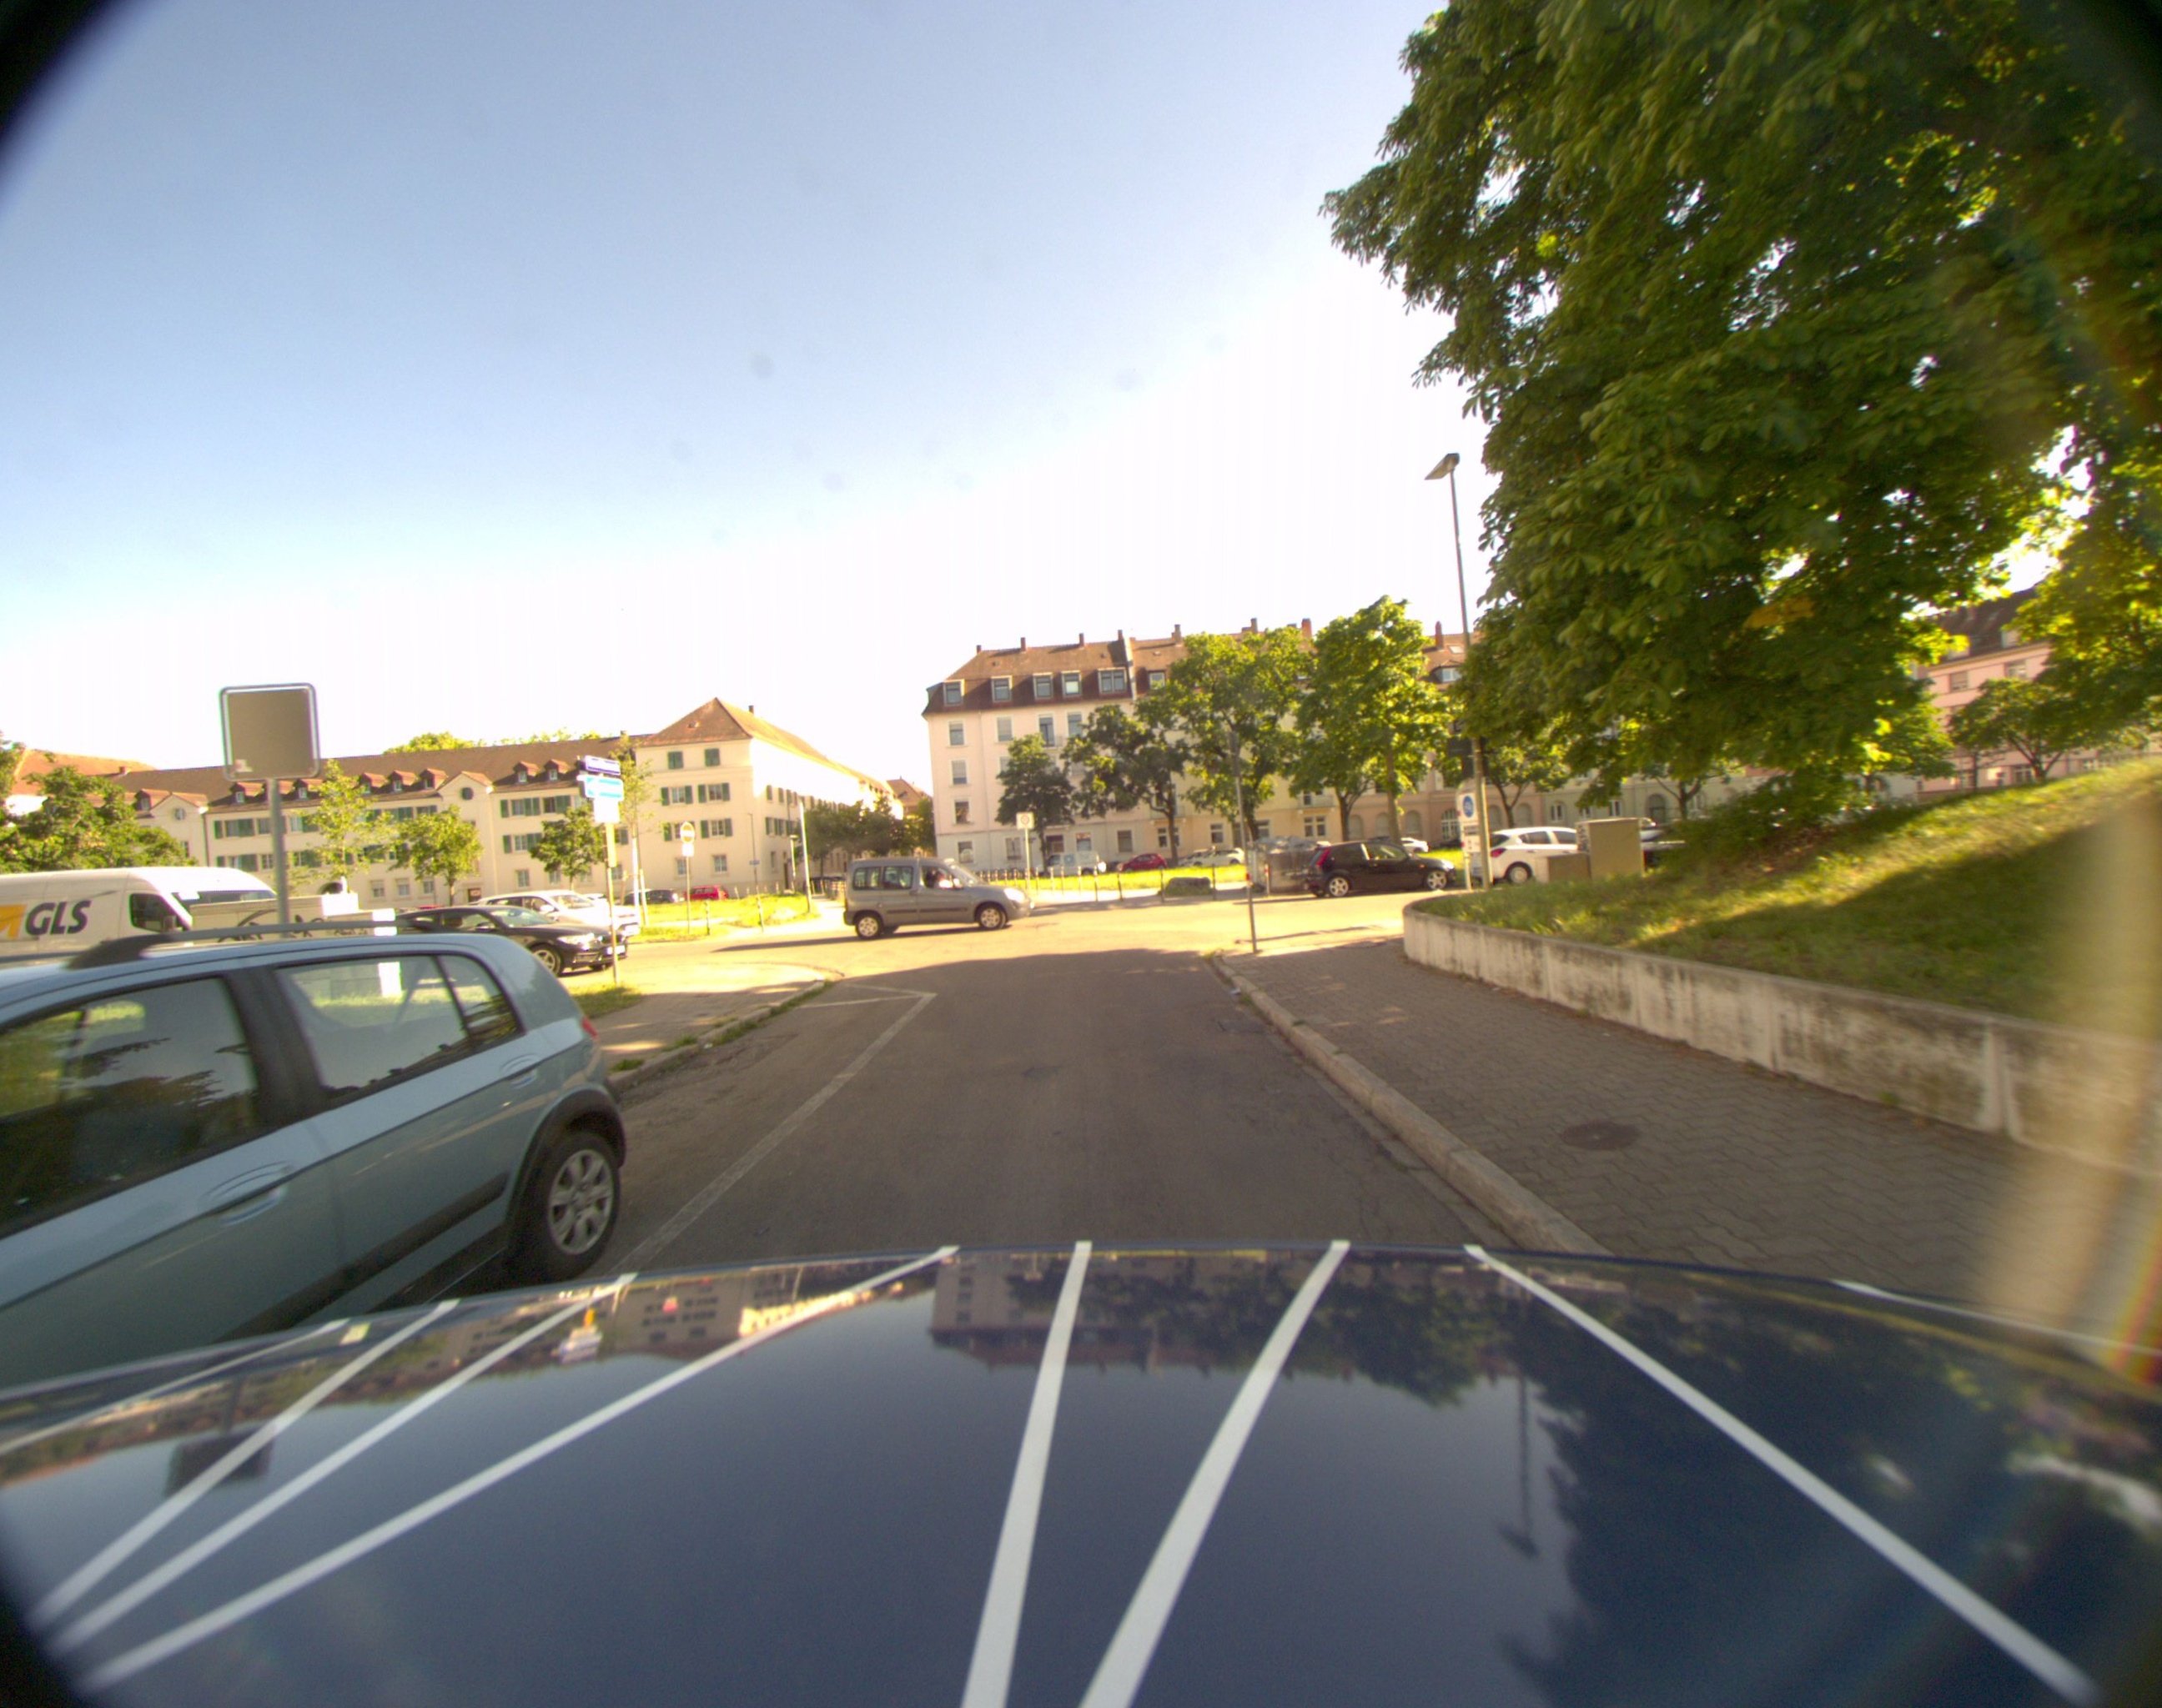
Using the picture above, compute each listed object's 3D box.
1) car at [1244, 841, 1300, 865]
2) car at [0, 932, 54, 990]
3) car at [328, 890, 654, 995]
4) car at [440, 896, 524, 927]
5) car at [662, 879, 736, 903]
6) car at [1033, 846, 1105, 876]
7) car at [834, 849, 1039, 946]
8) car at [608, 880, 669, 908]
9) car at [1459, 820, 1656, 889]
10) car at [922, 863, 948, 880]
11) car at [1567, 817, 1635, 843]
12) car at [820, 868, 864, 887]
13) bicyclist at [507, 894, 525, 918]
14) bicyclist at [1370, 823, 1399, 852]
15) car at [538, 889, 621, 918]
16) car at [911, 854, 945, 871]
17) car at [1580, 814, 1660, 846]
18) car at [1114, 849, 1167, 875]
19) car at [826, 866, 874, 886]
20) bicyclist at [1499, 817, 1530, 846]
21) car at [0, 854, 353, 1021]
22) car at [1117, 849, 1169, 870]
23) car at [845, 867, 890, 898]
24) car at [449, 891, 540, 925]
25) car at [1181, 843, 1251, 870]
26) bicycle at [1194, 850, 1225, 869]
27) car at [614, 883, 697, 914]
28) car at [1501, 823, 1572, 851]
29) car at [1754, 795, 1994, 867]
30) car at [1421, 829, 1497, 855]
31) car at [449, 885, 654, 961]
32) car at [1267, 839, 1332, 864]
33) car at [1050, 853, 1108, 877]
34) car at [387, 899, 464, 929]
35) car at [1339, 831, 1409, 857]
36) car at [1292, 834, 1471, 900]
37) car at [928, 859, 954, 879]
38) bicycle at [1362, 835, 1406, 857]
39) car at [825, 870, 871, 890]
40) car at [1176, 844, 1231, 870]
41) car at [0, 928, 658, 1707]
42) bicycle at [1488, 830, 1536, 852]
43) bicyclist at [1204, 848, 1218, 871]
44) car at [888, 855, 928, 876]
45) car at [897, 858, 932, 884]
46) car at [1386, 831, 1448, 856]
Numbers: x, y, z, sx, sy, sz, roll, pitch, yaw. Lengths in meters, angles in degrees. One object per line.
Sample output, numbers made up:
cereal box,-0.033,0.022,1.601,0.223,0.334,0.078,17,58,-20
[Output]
car,15.267,-0.057,60.852,3.858,1.605,1.890,-4,1,0
car,-31.832,3.142,20.931,4.467,1.510,1.880,-4,-2,0
car,-10.846,1.592,14.231,4.495,1.472,1.965,-4,-1,0
car,-44.271,4.227,56.222,4.255,1.810,2.243,-4,1,-1
car,-30.864,2.989,61.483,4.954,1.476,2.000,-4,0,0
car,-0.892,0.501,55.658,5.095,1.861,2.088,-4,1,-1
car,-3.172,0.930,17.315,4.153,1.779,1.904,-5,1,1
car,-35.831,3.226,61.603,3.894,2.002,1.671,-4,0,1
car,12.217,0.045,19.690,3.871,1.486,1.784,-3,-1,2
car,-15.121,1.819,78.735,1.937,1.560,3.881,-4,0,-3
car,41.424,-1.870,60.602,4.023,1.741,1.948,-4,1,0
car,-23.302,2.271,74.196,3.613,1.512,1.708,-4,1,-3
bicyclist,-44.480,4.081,59.803,0.801,1.792,0.675,-4,1,1
bicyclist,20.401,-1.083,51.102,1.449,1.826,0.944,-3,0,-7
car,-40.629,3.994,61.674,5.154,1.875,2.160,-4,1,1
car,-24.915,1.309,123.837,4.953,2.381,1.956,-4,1,-3
car,38.883,-1.723,54.858,4.458,1.897,1.741,-4,1,-1
car,4.746,0.641,61.120,4.050,1.741,2.000,-4,1,2
car,-23.198,2.231,76.436,4.239,1.691,1.706,-4,1,-1
bicyclist,28.618,-1.473,50.197,1.448,1.826,0.944,-3,0,0
car,-18.502,1.612,14.692,6.835,2.696,2.150,-4,-1,3
car,4.477,0.393,55.222,3.524,1.272,1.699,-4,1,-1
car,-12.488,1.670,44.270,1.931,1.567,4.341,-4,0,-23
car,-47.750,4.382,62.000,5.254,2.203,2.538,-4,1,-1
car,9.778,0.177,55.174,4.695,1.552,1.699,-4,1,-1
bicycle,9.584,0.383,56.718,2.153,1.251,0.714,-4,1,-1
car,-31.291,3.249,55.983,4.702,1.810,2.165,-4,1,-1
car,32.861,-1.229,54.911,4.078,1.677,1.636,-4,1,-1
car,20.111,-0.558,19.417,4.123,1.453,1.785,-4,1,2
car,27.327,-0.841,55.029,4.525,1.540,1.762,-4,1,-1
car,-14.260,1.828,20.622,4.283,1.637,1.762,-4,-1,2
car,15.830,-0.171,55.136,4.078,1.518,1.699,-4,1,-1
car,-0.213,0.826,60.966,4.450,1.577,1.999,-4,1,-3
car,-53.378,4.873,61.926,4.164,1.894,2.270,-4,1,0
car,21.142,-0.705,54.865,4.352,1.540,1.636,-4,1,-1
car,7.711,0.358,19.815,3.912,1.416,1.754,-3,-2,2
car,-15.388,1.666,83.715,1.999,1.962,5.051,-4,0,-4
bicycle,20.365,-0.551,51.095,2.633,1.245,0.812,-4,1,-5
car,-21.830,2.414,71.327,3.665,1.512,1.713,-4,1,0
car,9.801,0.233,60.997,3.997,1.747,1.869,-4,1,0
car,-2.841,1.120,1.651,1.657,1.421,3.899,-4,0,-2
bicycle,28.511,-0.877,50.244,2.632,1.245,0.812,-4,1,0
bicyclist,9.702,0.416,56.713,0.878,1.680,0.632,-4,0,-1
car,-23.621,1.554,103.835,4.953,2.504,1.956,-4,1,-3
car,-14.827,1.494,68.041,2.139,2.002,4.575,-4,1,-2
car,26.752,-0.819,60.580,3.996,1.691,1.852,-4,1,4
